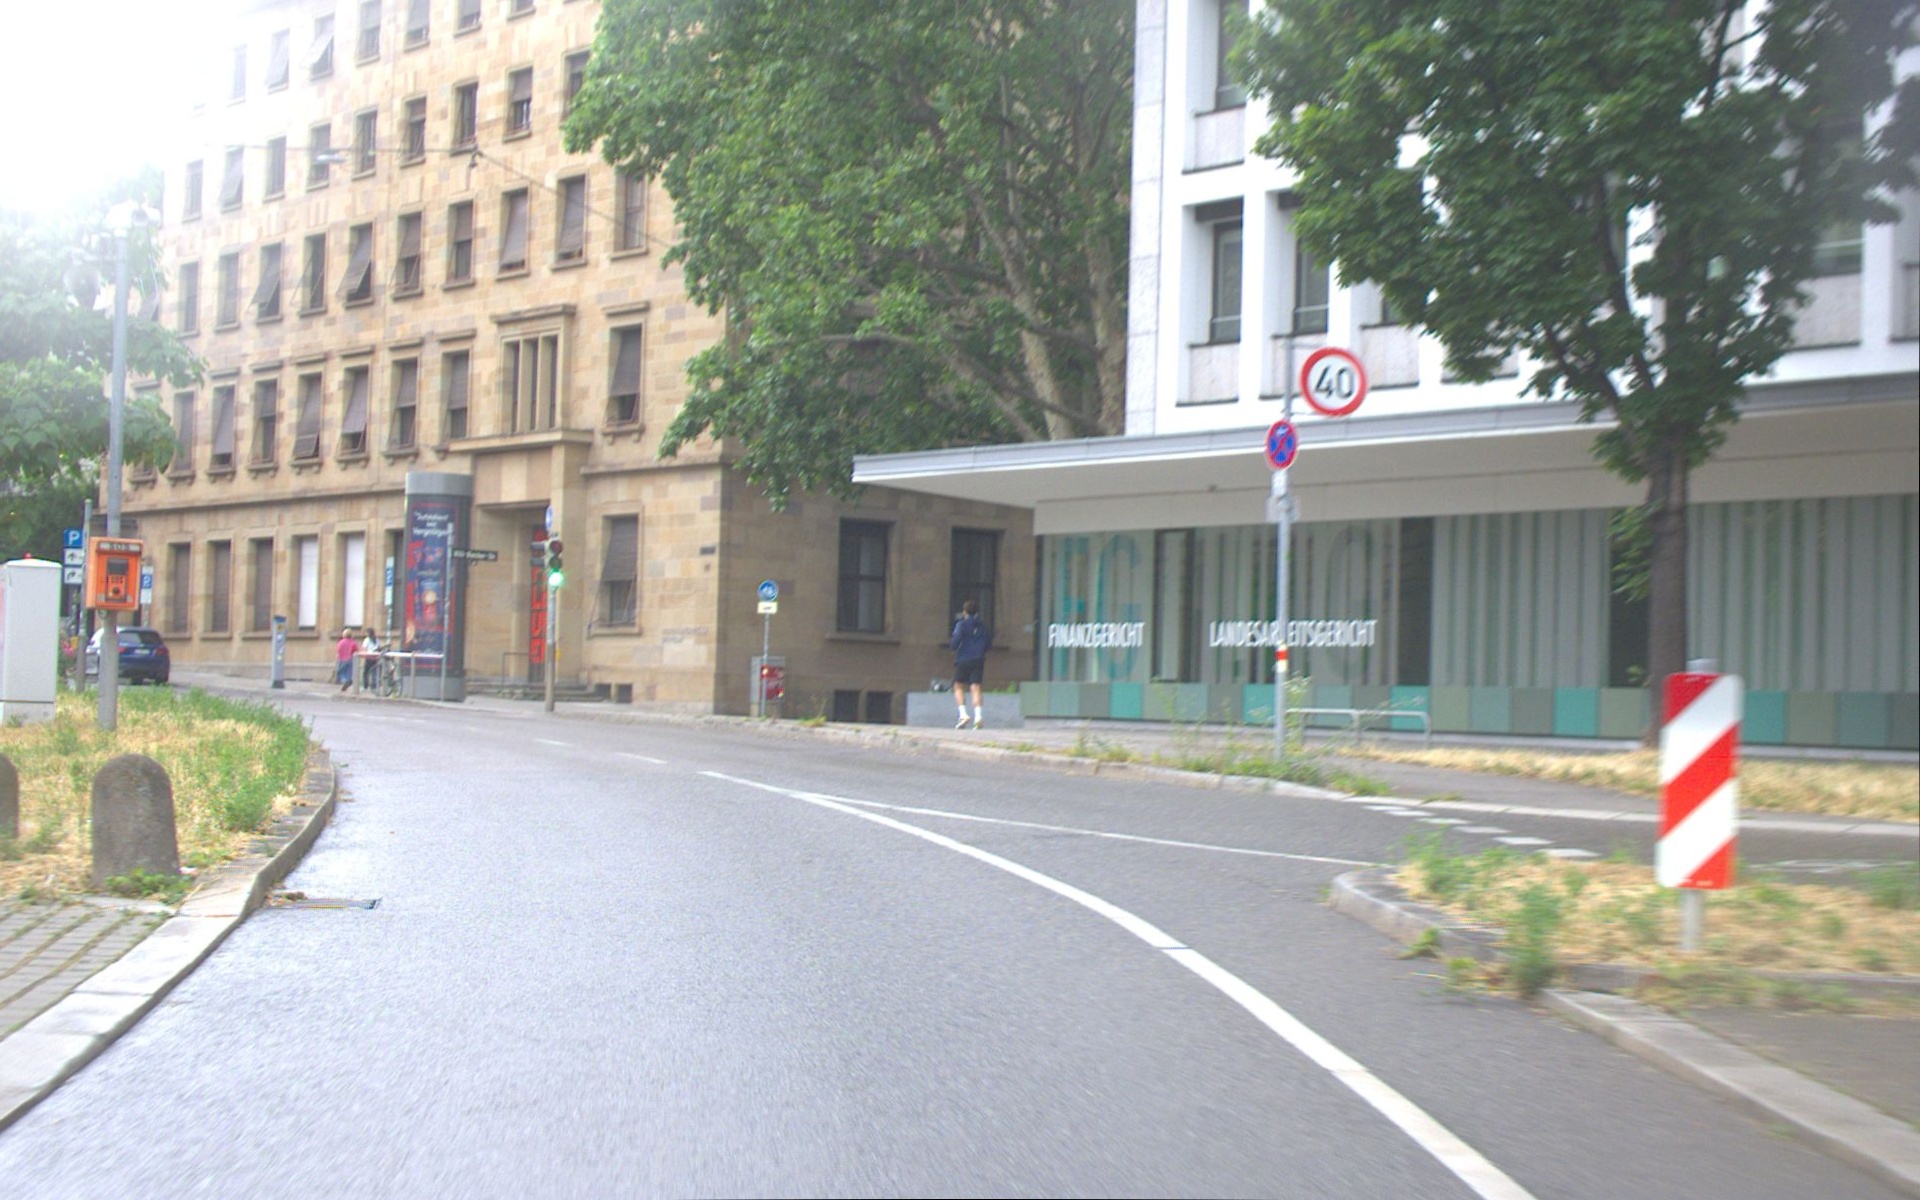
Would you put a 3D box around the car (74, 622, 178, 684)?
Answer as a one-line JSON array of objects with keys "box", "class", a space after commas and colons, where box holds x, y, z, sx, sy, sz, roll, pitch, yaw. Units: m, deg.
[{"box": [-23.209, 1.476, 95.566, 1.768, 1.614, 4.158, 4, -2, -28], "class": "car"}]

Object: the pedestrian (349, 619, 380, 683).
[{"box": [-15.104, 1.300, 87.168, 0.524, 1.597, 0.674, 3, -2, -26], "class": "pedestrian"}]

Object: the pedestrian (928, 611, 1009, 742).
[{"box": [0.115, 1.049, 47.249, 0.779, 1.766, 0.863, 3, -1, -22], "class": "pedestrian"}]

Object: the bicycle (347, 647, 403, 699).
[{"box": [-11.971, 1.484, 70.292, 0.489, 1.009, 1.928, 3, -2, -28], "class": "bicycle"}]

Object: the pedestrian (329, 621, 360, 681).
[{"box": [-15.547, 1.288, 86.845, 0.524, 1.487, 0.674, 3, -2, -29], "class": "pedestrian"}]
